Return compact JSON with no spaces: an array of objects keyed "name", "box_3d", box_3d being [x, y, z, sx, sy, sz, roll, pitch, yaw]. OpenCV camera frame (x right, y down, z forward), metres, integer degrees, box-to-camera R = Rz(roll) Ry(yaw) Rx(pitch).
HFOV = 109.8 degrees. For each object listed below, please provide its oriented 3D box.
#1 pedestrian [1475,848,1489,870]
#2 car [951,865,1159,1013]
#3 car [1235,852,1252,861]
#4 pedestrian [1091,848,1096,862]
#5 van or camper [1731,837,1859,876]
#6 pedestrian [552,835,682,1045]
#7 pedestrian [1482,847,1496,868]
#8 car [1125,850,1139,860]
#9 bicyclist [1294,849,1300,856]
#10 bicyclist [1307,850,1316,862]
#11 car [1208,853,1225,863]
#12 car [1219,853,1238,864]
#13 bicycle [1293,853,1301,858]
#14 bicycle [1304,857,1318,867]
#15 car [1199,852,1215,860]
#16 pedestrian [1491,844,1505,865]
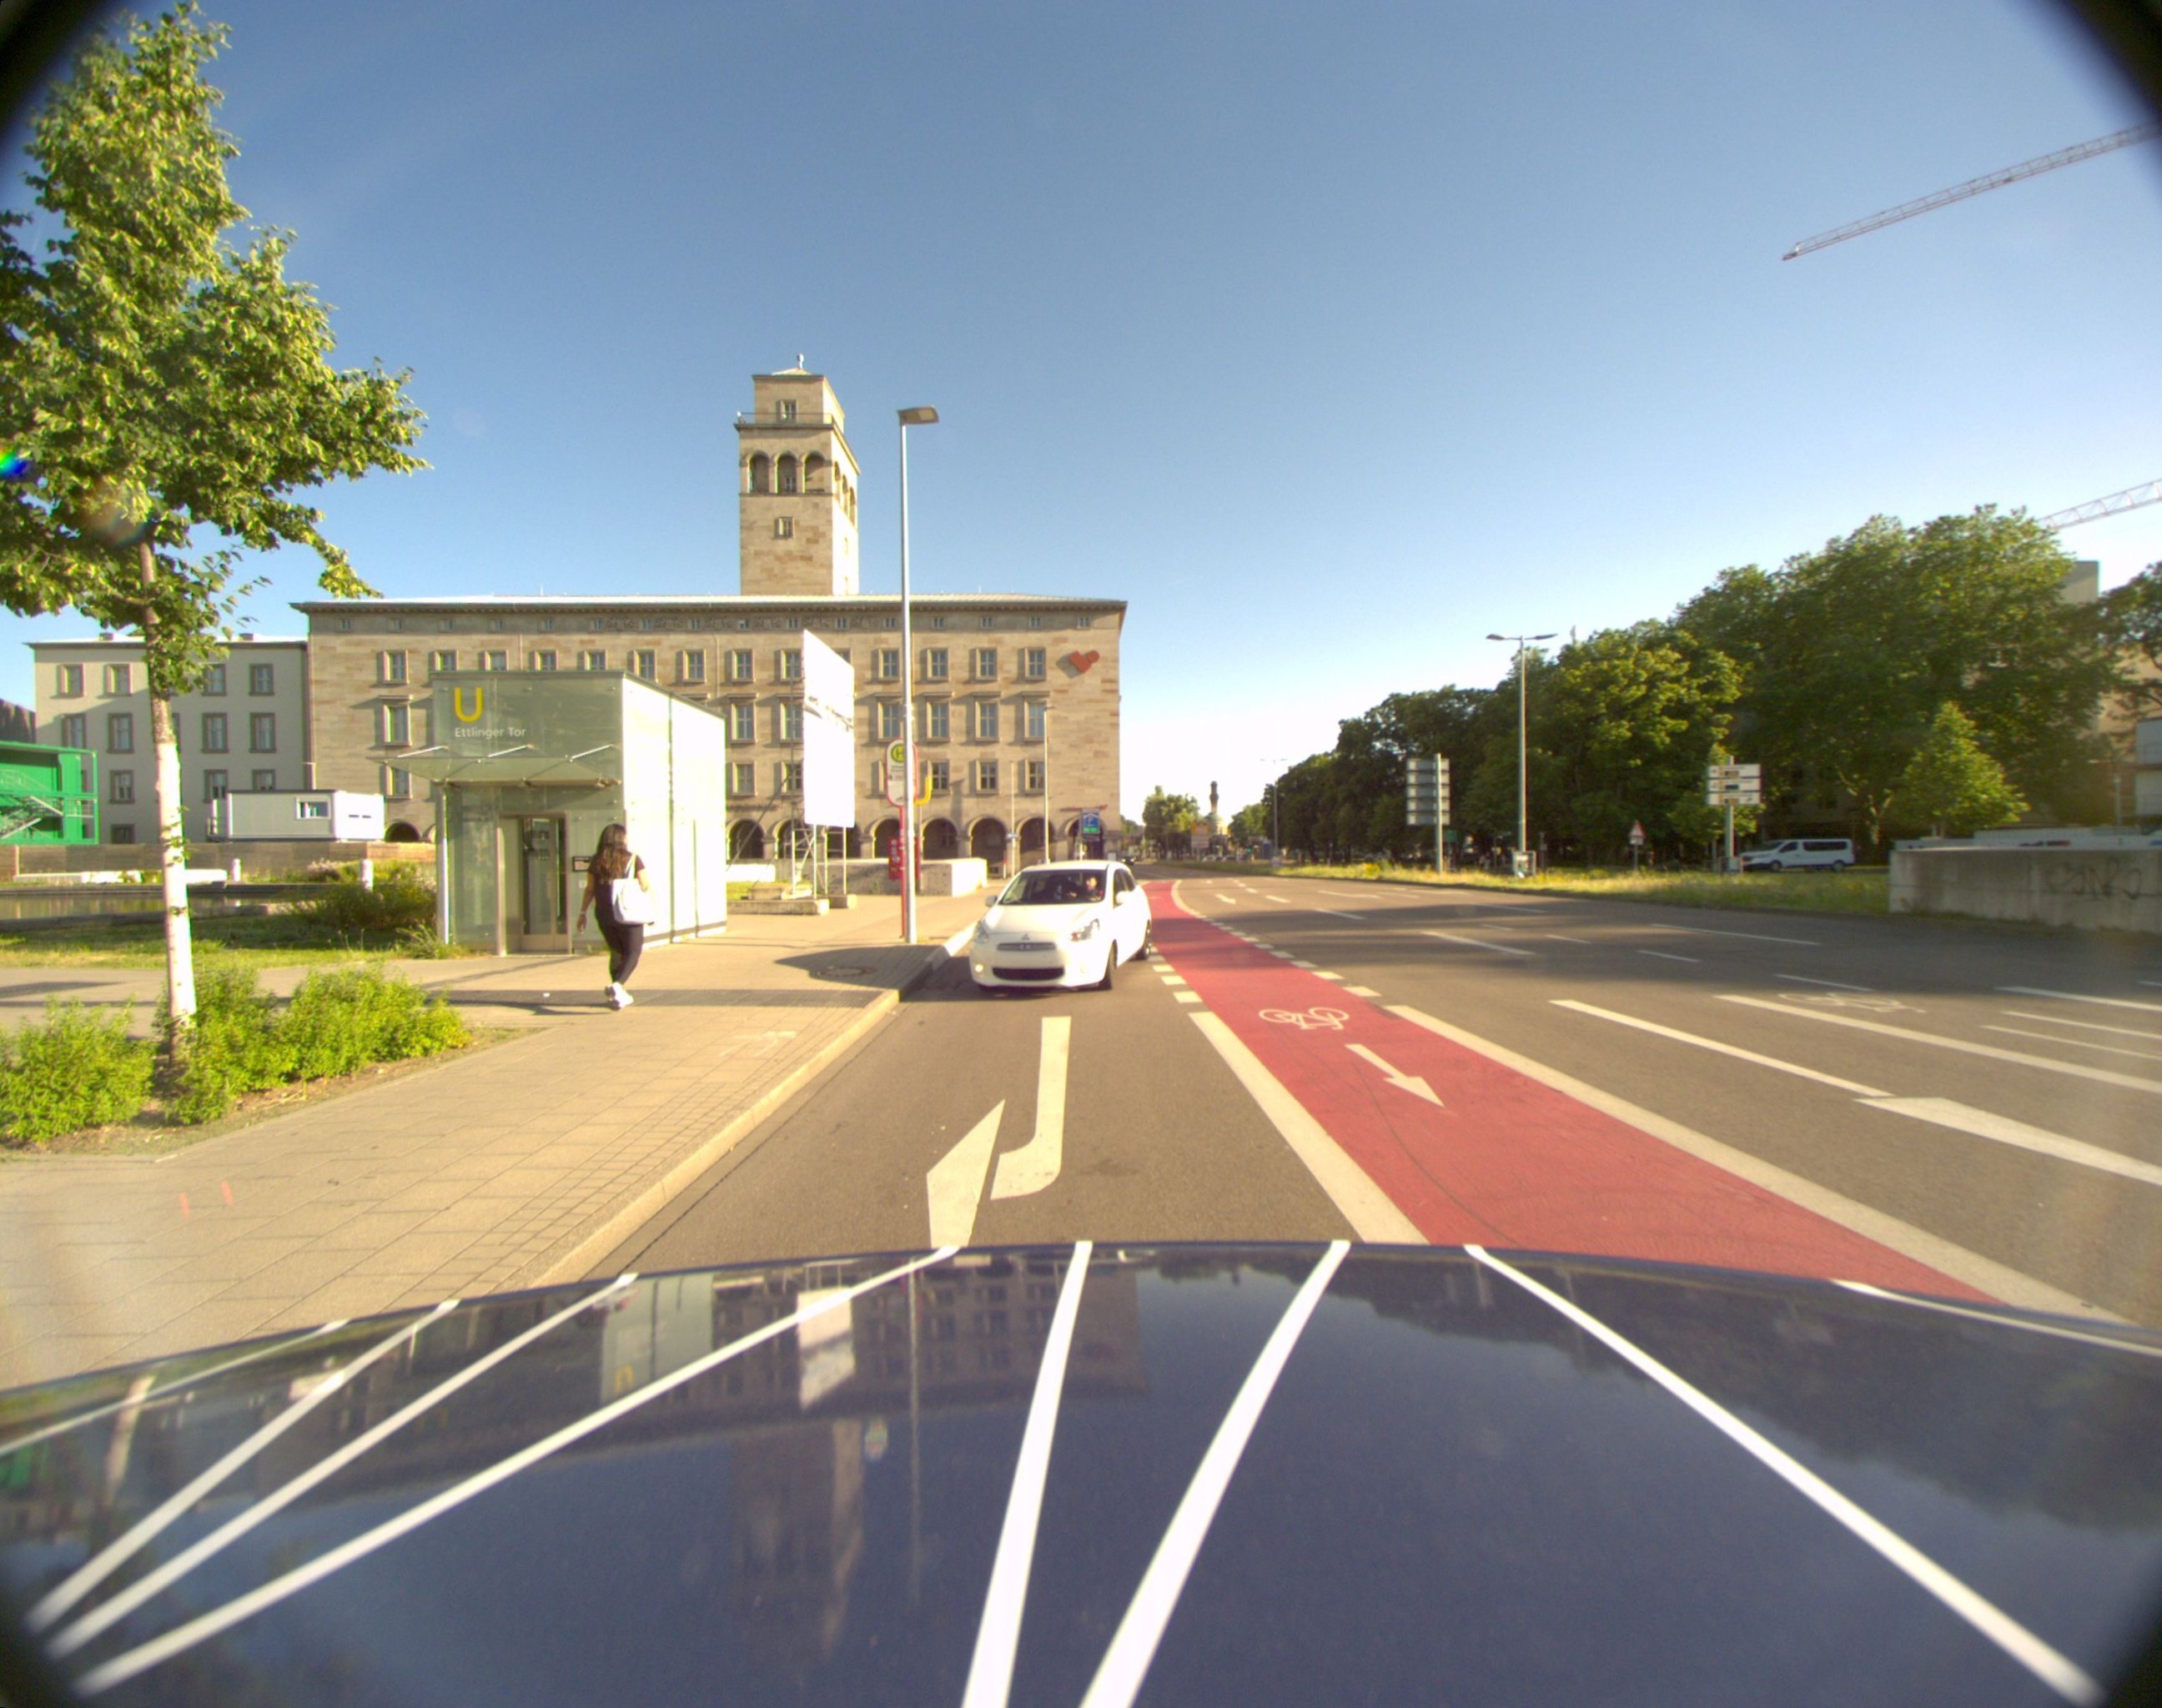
[{"name":"pedestrian","box_3d":[32.343,0.383,61.303,0.707,1.715,0.762,-1,1,1]},{"name":"car","box_3d":[-0.109,0.940,9.974,1.677,1.440,3.893,-2,0,14]},{"name":"car","box_3d":[26.199,0.390,122.248,1.998,1.499,4.000,-1,0,2]},{"name":"pedestrian","box_3d":[1.646,0.079,100.258,0.704,1.843,0.828,-1,1,0]},{"name":"van or camper","box_3d":[42.293,0.133,45.089,5.649,2.002,1.948,-2,1,2]},{"name":"pedestrian","box_3d":[-4.338,0.720,7.119,0.944,1.776,1.070,-1,1,-33]},{"name":"pedestrian","box_3d":[32.997,0.259,61.452,0.665,1.715,0.762,-1,1,1]},{"name":"car","box_3d":[8.082,0.153,121.026,1.937,1.634,4.616,-1,0,0]},{"name":"bicyclist","box_3d":[36.906,-0.227,129.782,0.609,1.274,0.716,0,1,38]},{"name":"bicyclist","box_3d":[24.225,0.201,79.953,0.639,1.275,0.885,-1,1,-4]},{"name":"car","box_3d":[20.427,0.578,114.688,1.872,1.390,3.999,-1,0,-1]},{"name":"car","box_3d":[20.853,0.640,107.761,1.872,1.390,3.999,-1,0,-1]},{"name":"bicycle","box_3d":[36.910,0.239,129.792,0.609,0.838,1.749,0,1,38]},{"name":"bicycle","box_3d":[24.205,0.790,80.067,0.639,1.016,2.242,-1,0,-4]},{"name":"car","box_3d":[20.506,0.327,123.566,1.873,1.390,3.999,-1,0,-2]},{"name":"pedestrian","box_3d":[33.734,0.045,61.512,0.707,1.715,0.762,-1,1,1]}]
